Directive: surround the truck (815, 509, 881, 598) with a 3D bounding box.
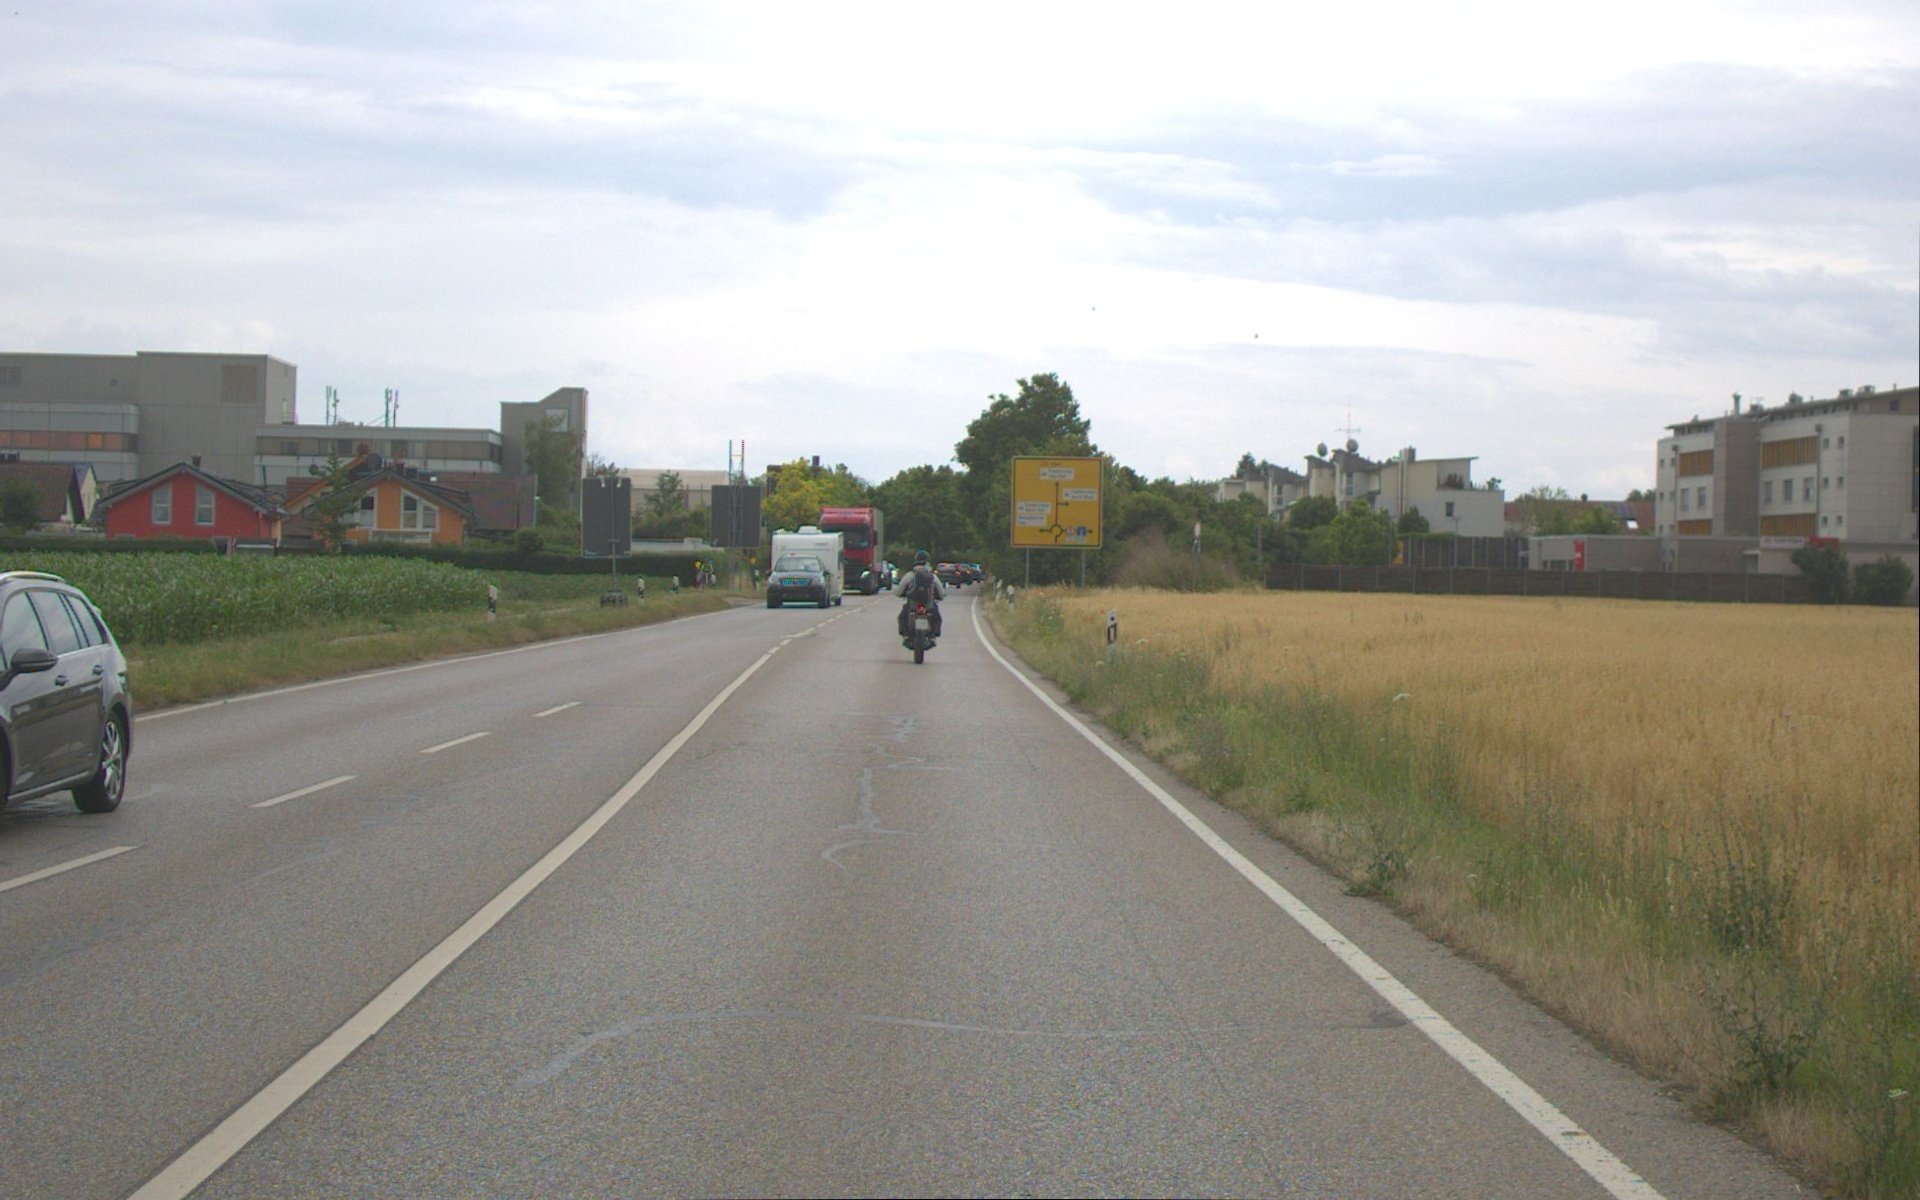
[{"bbox_3d":[-5.166,-2.138,159.587,2.729,3.974,6.816,1,0,1],"label":"truck"}]

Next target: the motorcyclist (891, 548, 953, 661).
[{"bbox_3d":[-0.596,0.068,54.383,0.941,1.744,1.200,1,0,0],"label":"motorcyclist"}]

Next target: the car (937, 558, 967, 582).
[{"bbox_3d":[-0.473,-1.917,219.196,1.855,1.467,4.000,1,0,0],"label":"car"}]

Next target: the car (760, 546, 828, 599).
[{"bbox_3d":[-5.422,-0.906,112.984,1.993,1.693,4.676,1,1,0],"label":"car"}]

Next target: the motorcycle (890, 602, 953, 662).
[{"bbox_3d":[-0.596,0.492,54.275,0.941,0.887,2.146,1,0,0],"label":"motorcycle"}]

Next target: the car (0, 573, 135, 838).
[{"bbox_3d":[-6.012,0.566,19.464,1.669,1.424,4.303,0,0,0],"label":"car"}]

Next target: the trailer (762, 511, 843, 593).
[{"bbox_3d":[-5.413,-1.640,119.065,2.324,2.720,7.843,1,1,1],"label":"trailer"}]
